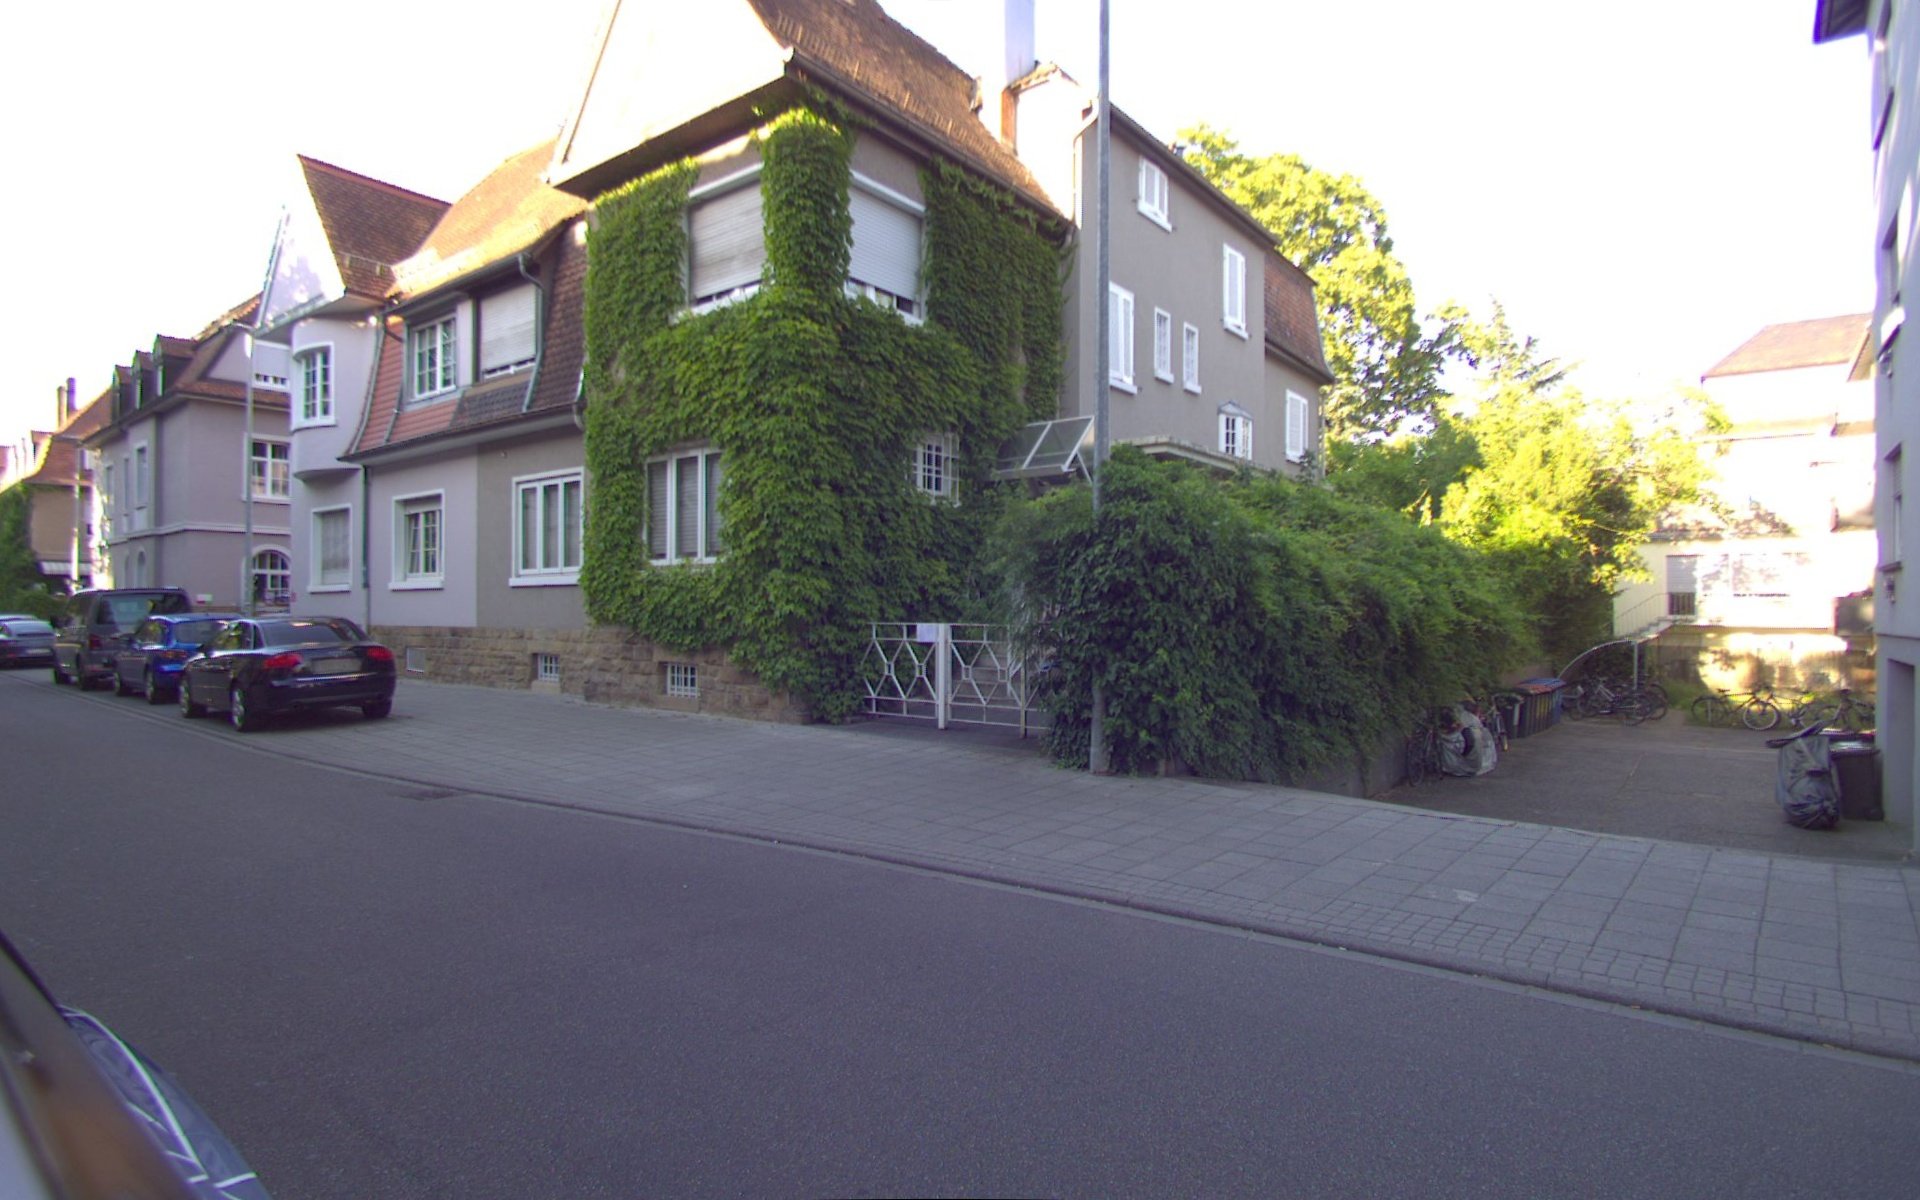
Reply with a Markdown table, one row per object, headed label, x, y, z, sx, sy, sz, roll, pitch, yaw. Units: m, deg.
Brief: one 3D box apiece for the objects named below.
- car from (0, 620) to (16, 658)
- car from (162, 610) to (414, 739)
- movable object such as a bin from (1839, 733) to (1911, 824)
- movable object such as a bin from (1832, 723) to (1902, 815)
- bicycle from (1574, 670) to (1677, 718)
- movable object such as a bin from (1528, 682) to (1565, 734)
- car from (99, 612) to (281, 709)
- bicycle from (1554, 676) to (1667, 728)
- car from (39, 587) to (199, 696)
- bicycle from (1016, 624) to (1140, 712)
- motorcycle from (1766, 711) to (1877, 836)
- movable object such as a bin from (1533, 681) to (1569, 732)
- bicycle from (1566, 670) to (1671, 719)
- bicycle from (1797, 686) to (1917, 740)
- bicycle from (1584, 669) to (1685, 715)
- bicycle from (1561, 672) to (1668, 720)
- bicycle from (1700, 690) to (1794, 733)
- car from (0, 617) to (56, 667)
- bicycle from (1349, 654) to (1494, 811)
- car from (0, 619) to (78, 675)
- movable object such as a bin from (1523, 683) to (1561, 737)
| label | x | y | z | sx | sy | sz | roll | pitch | yaw |
| --- | --- | --- | --- | --- | --- | --- | --- | --- | --- |
| car | -36.333 | 1.446 | 37.508 | 3.676 | 1.372 | 1.641 | -1 | 1 | 42 |
| car | -9.419 | 0.912 | 14.031 | 4.426 | 1.457 | 1.783 | -1 | 1 | 41 |
| movable object such as a bin | 11.709 | 2.268 | 12.969 | 0.611 | 1.045 | 0.532 | -1 | -4 | 37 |
| movable object such as a bin | 12.291 | 2.273 | 13.730 | 0.611 | 1.123 | 0.792 | -1 | -4 | 37 |
| bicycle | 18.606 | 2.606 | 28.336 | 2.338 | 1.186 | 0.685 | -1 | -4 | 42 |
| movable object such as a bin | 13.170 | 2.413 | 22.719 | 0.611 | 1.123 | 0.792 | -1 | -4 | 37 |
| car | -13.644 | 0.983 | 17.847 | 4.060 | 1.457 | 1.745 | -1 | 1 | 41 |
| bicycle | 16.232 | 2.520 | 25.305 | 2.294 | 1.142 | 0.685 | -1 | -4 | 42 |
| car | -17.533 | 0.790 | 21.017 | 4.610 | 1.990 | 1.819 | -1 | 1 | 41 |
| bicycle | 1.694 | 0.915 | 14.188 | 0.476 | 1.111 | 2.172 | -1 | -1 | 45 |
| motorcycle | 10.700 | 2.113 | 12.628 | 0.742 | 1.305 | 1.565 | -1 | -2 | 30 |
| movable object such as a bin | 13.640 | 2.446 | 23.351 | 0.611 | 1.123 | 0.792 | -1 | -4 | 37 |
| bicycle | 18.048 | 2.567 | 27.767 | 2.338 | 1.186 | 0.685 | -1 | -4 | 42 |
| bicycle | 20.362 | 2.537 | 23.029 | 2.005 | 1.080 | 0.558 | -1 | -4 | 42 |
| bicycle | 19.191 | 2.599 | 28.833 | 2.338 | 1.186 | 0.685 | -1 | -4 | 42 |
| bicycle | 17.496 | 2.539 | 27.115 | 2.338 | 1.142 | 0.685 | -1 | -4 | 42 |
| bicycle | 18.885 | 2.663 | 24.304 | 1.754 | 0.886 | 0.558 | -1 | -4 | 42 |
| car | -30.182 | 1.301 | 32.031 | 4.061 | 1.478 | 1.907 | -1 | 1 | 42 |
| bicycle | 6.817 | 1.782 | 14.755 | 0.971 | 1.907 | 4.138 | -1 | -3 | 38 |
| car | -26.167 | 1.270 | 28.298 | 4.063 | 1.394 | 1.906 | -1 | 1 | 44 |
| movable object such as a bin | 12.694 | 2.377 | 22.077 | 0.611 | 1.123 | 0.792 | -1 | -4 | 37 |
